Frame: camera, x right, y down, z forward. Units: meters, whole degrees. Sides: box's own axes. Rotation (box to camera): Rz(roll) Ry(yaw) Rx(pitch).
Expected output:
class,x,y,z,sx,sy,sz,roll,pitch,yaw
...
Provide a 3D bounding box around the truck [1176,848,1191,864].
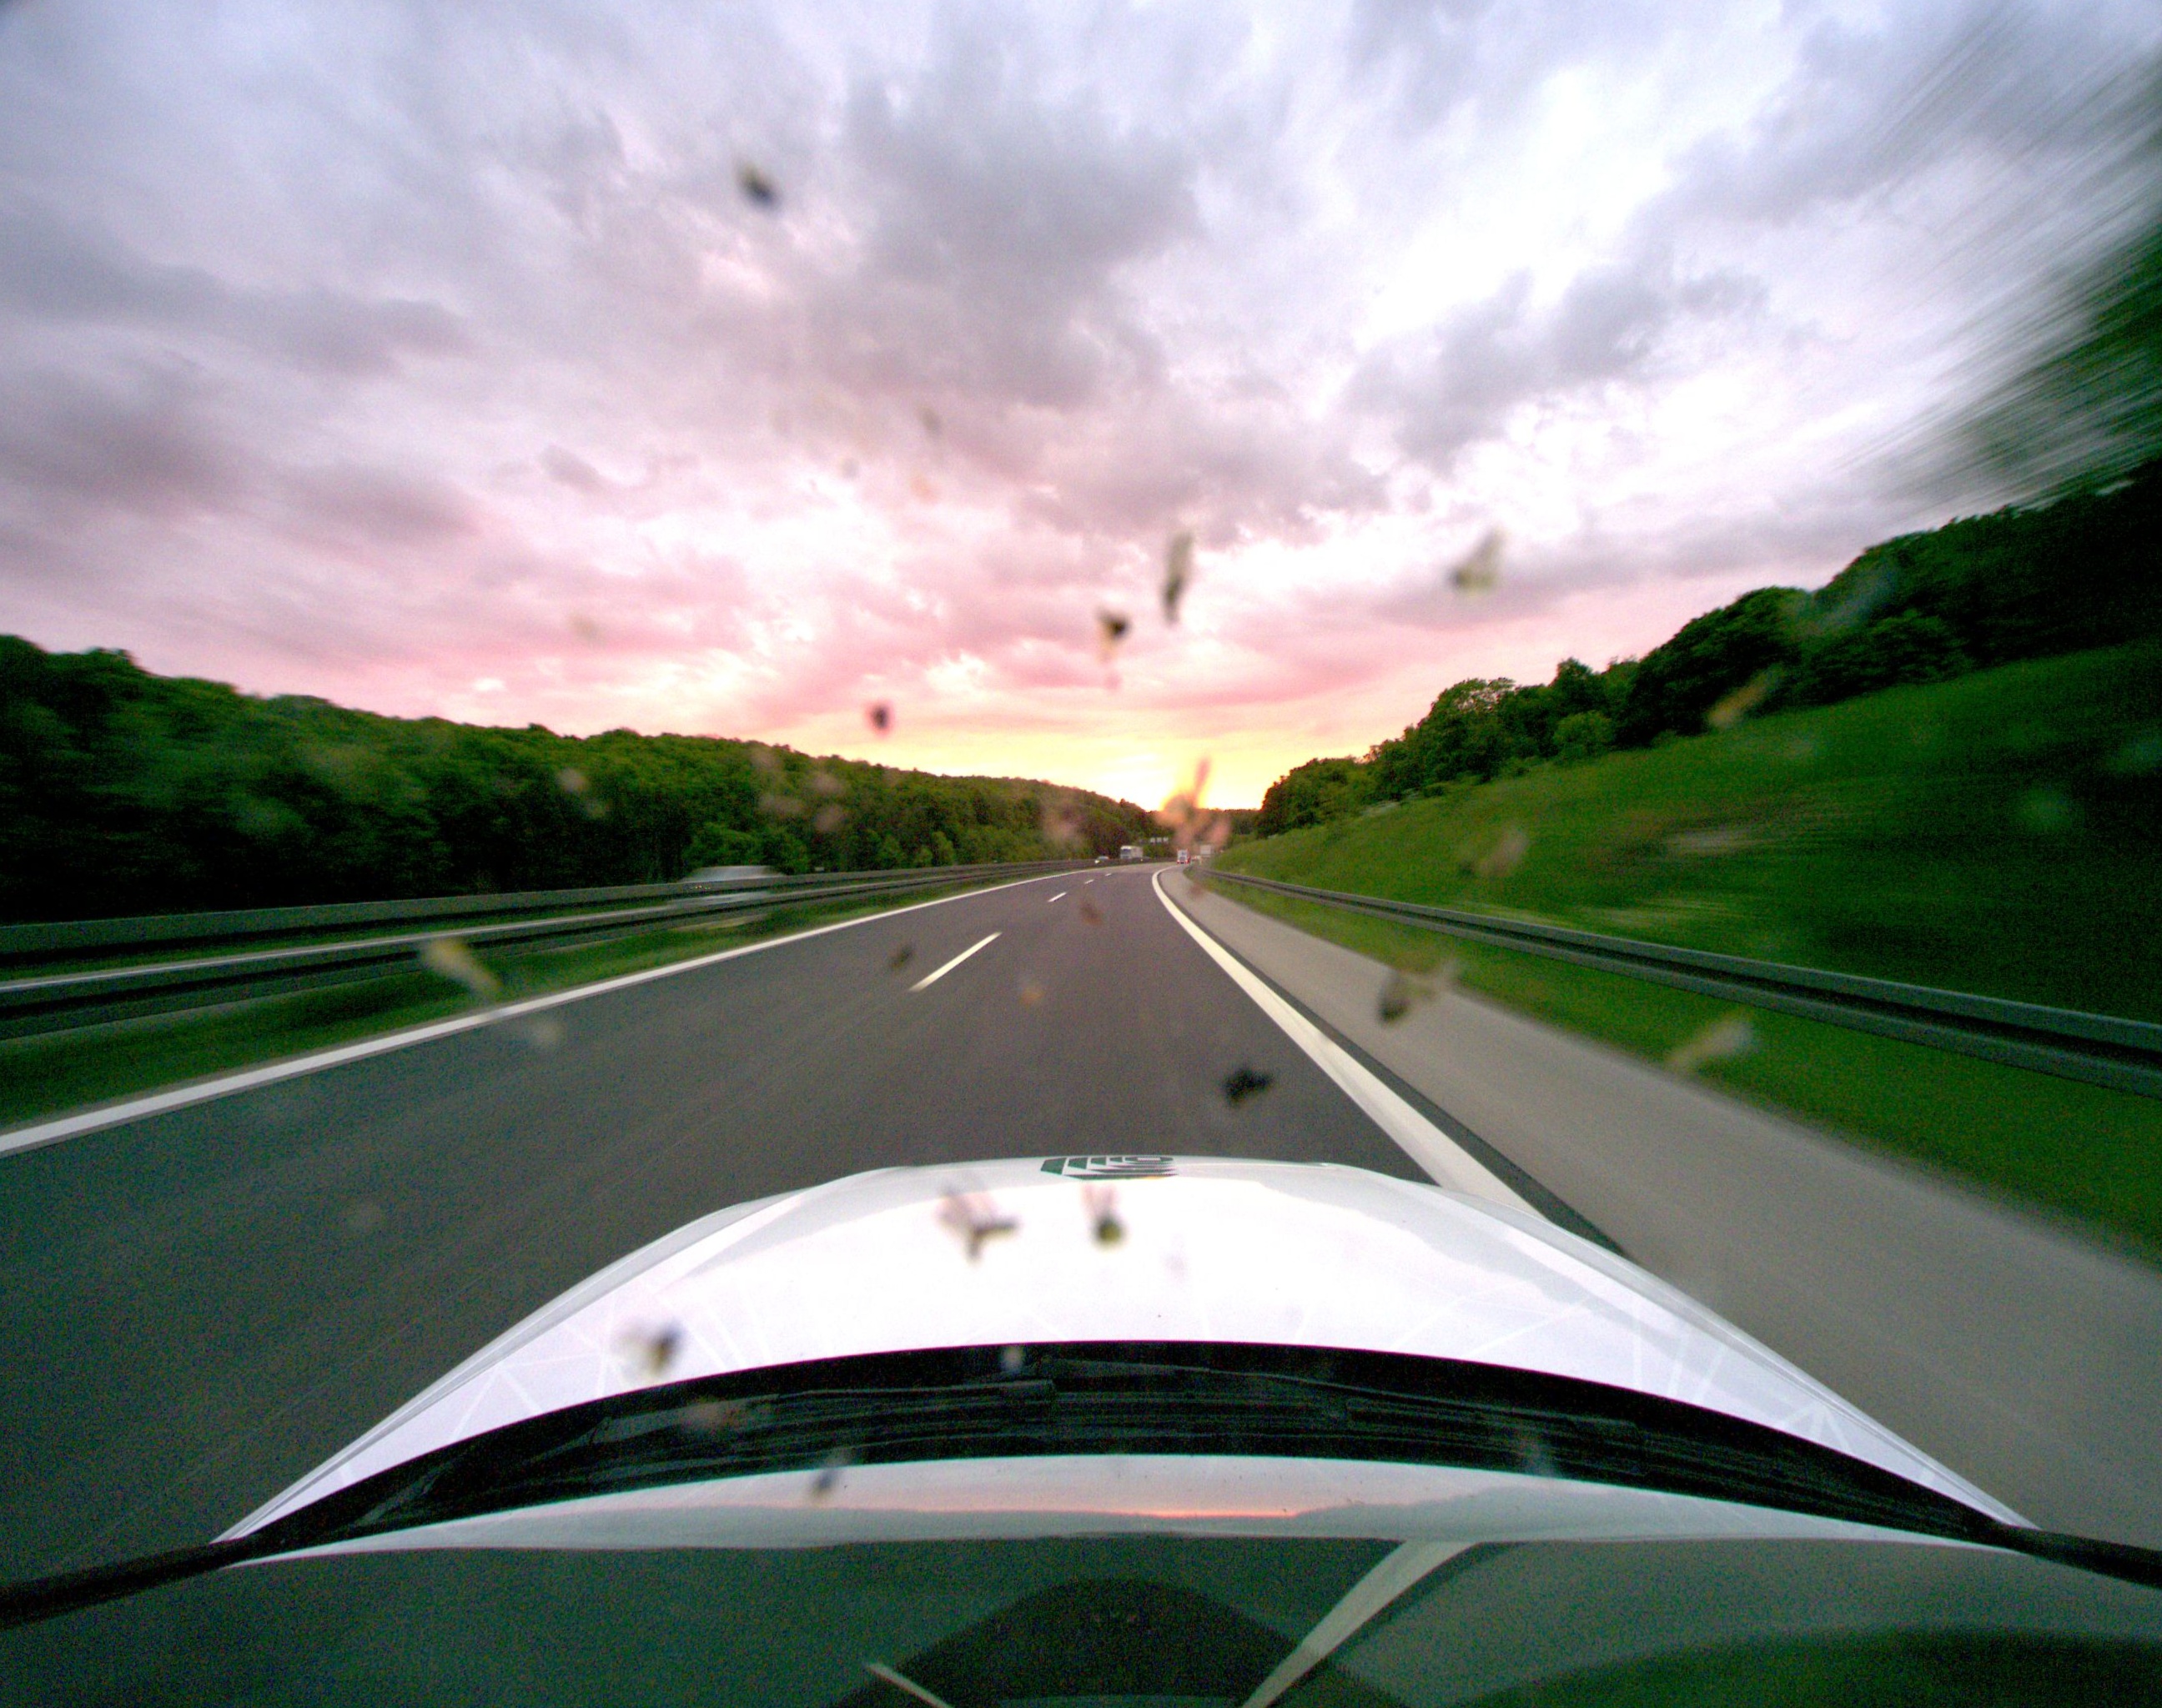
class,x,y,z,sx,sy,sz,roll,pitch,yaw
truck,19.667,0.340,156.202,2.261,2.664,5.254,-3,1,12

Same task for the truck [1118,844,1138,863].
class,x,y,z,sx,sy,sz,roll,pitch,yaw
truck,11.208,-0.052,193.436,2.844,4.281,10.104,-1,0,14

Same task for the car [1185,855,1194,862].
class,x,y,z,sx,sy,sz,roll,pitch,yaw
car,28.983,1.186,216.959,1.980,1.517,4.013,-2,0,12

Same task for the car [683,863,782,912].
class,x,y,z,sx,sy,sz,roll,pitch,yaw
car,-13.513,1.248,31.875,1.746,1.640,4.481,-2,0,2

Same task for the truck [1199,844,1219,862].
class,x,y,z,sx,sy,sz,roll,pitch,yaw
truck,33.500,-0.273,212.811,3.930,4.287,14.375,-2,0,13
